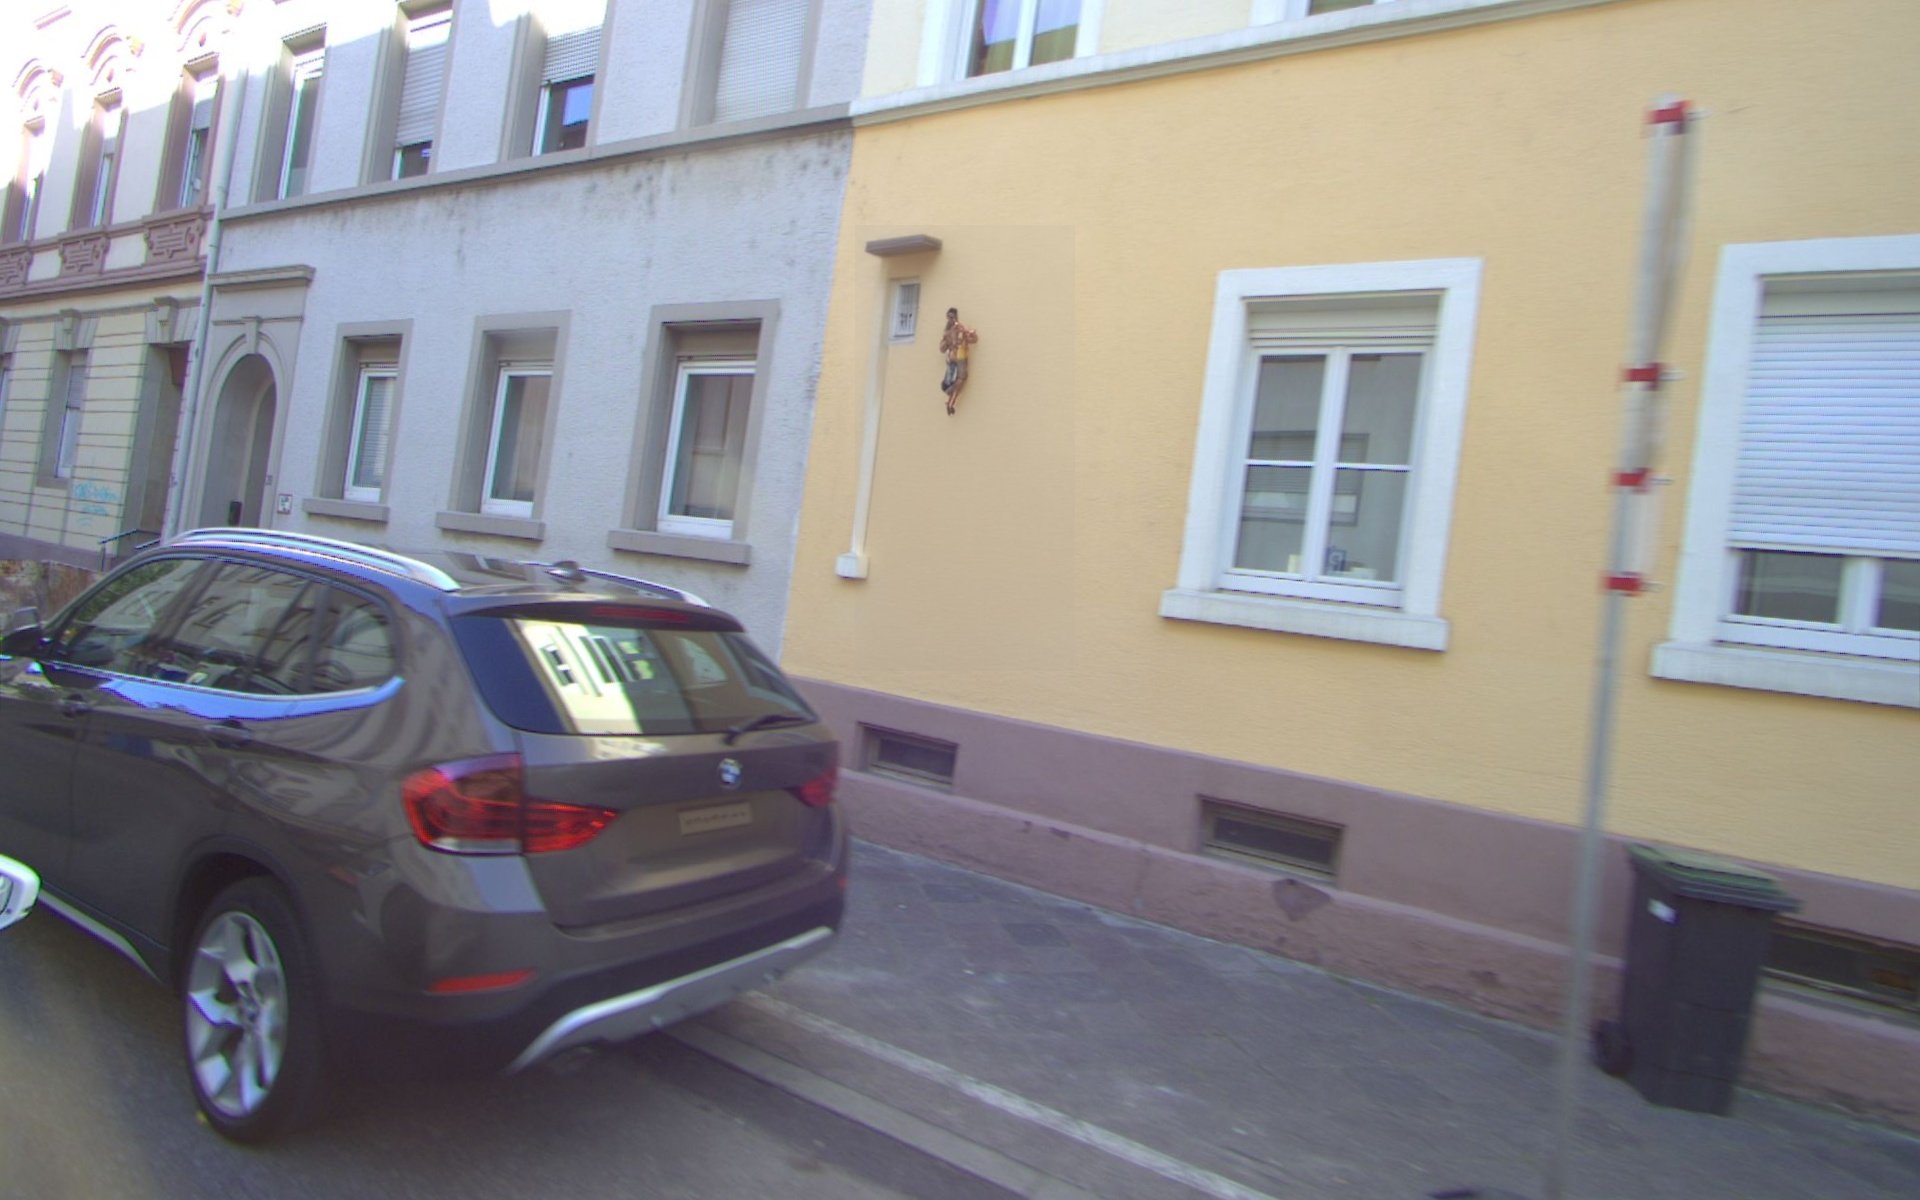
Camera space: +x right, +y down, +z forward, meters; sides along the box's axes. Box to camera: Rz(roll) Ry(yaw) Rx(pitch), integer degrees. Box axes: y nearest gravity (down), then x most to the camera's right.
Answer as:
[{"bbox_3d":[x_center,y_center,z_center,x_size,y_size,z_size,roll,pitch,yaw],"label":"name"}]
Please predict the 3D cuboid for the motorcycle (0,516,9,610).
[{"bbox_3d":[-13.752,-0.616,13.616,2.714,1.203,0.596,7,3,32],"label":"motorcycle"}]

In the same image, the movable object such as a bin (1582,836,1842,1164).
[{"bbox_3d":[2.916,1.507,3.974,0.631,0.946,0.655,7,-1,28],"label":"movable object such as a bin"}]

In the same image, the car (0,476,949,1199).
[{"bbox_3d":[-2.414,0.529,3.861,4.303,1.595,1.743,8,-1,30],"label":"car"}]
